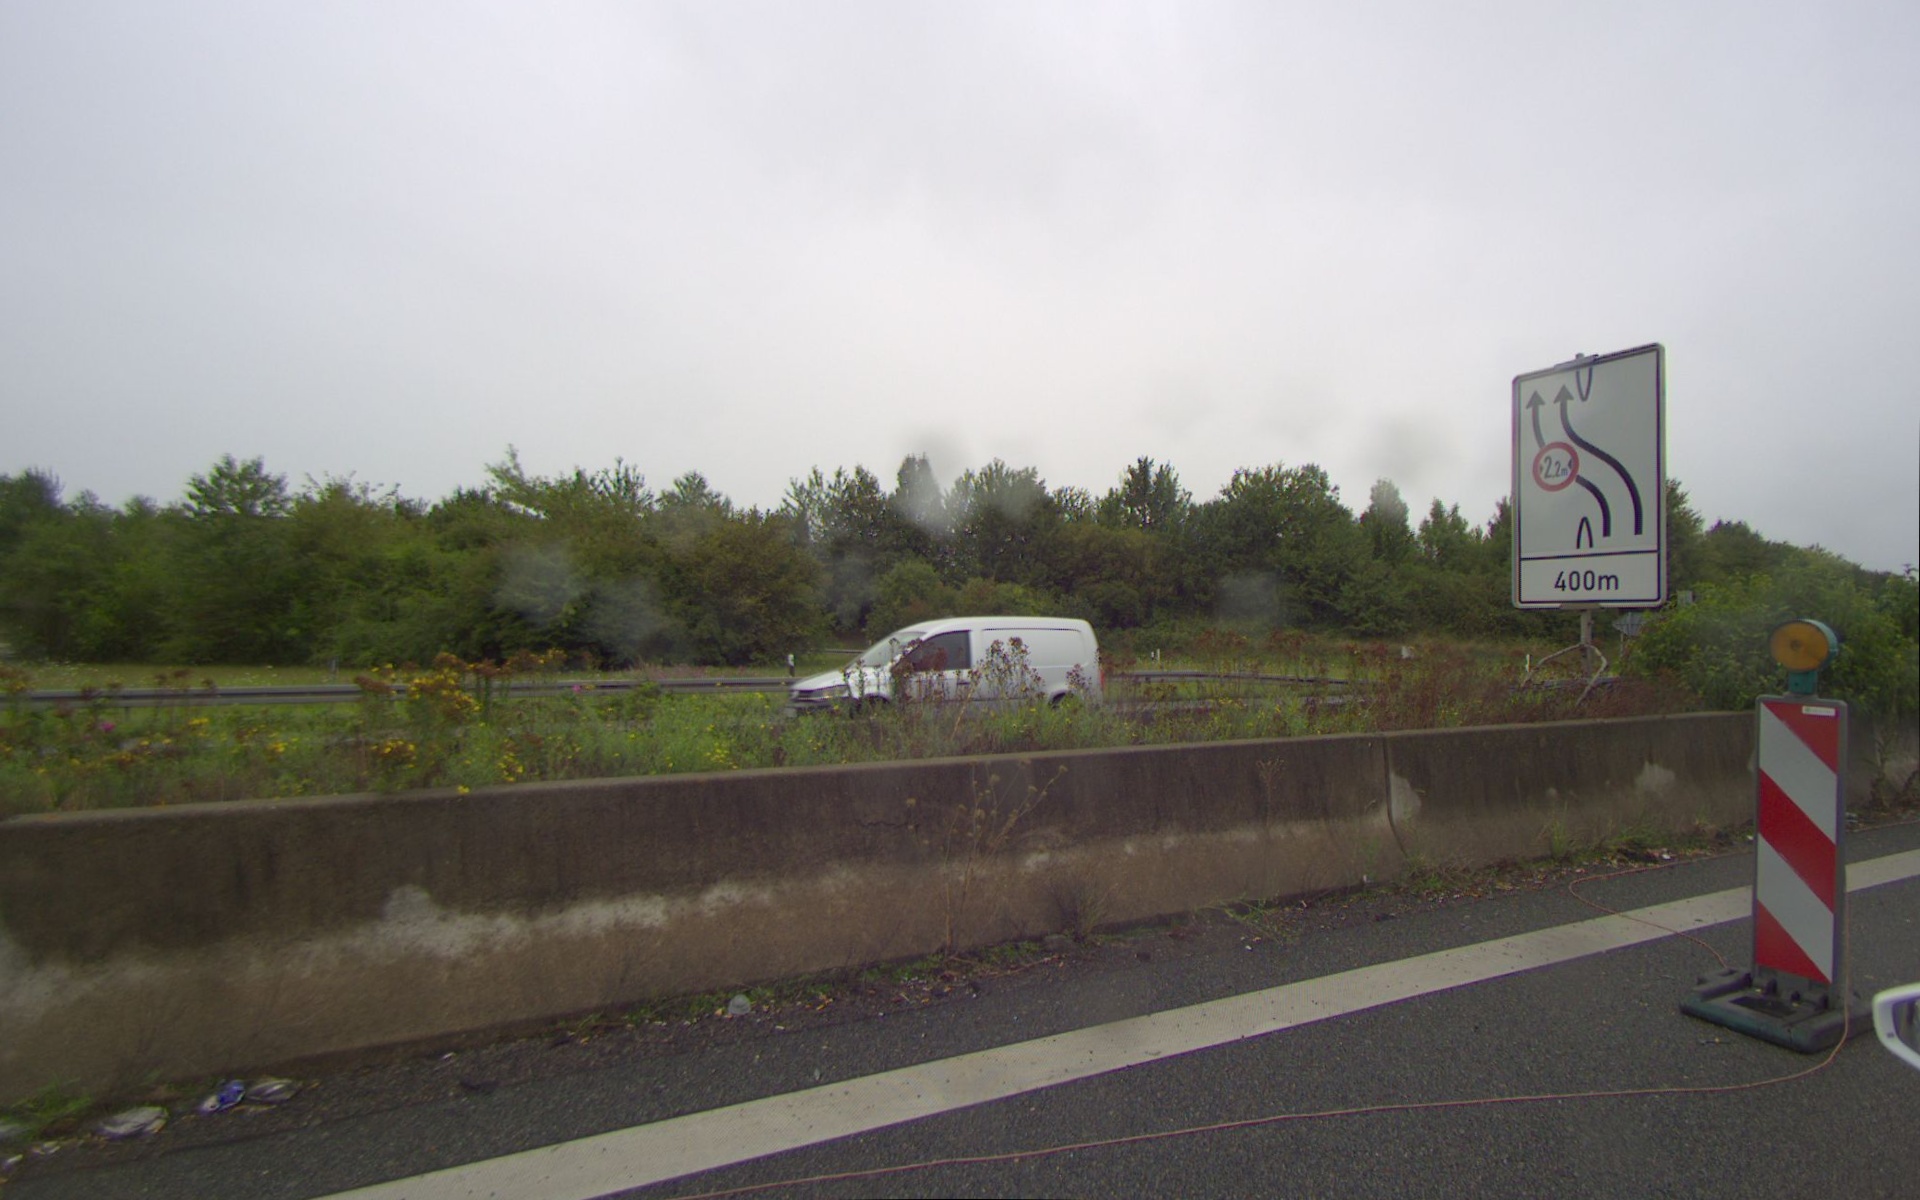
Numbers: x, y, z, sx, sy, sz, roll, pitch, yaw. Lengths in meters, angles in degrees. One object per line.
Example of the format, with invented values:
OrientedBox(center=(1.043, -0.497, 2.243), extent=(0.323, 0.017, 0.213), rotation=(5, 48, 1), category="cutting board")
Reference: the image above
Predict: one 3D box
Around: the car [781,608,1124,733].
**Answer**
OrientedBox(center=(-0.045, 0.936, 14.528), extent=(4.692, 1.563, 1.859), rotation=(1, -2, -31), category="car")

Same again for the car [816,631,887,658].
OrientedBox(center=(-6.411, 2.628, 59.593), extent=(3.835, 1.550, 1.705), rotation=(0, -1, 13), category="car")
